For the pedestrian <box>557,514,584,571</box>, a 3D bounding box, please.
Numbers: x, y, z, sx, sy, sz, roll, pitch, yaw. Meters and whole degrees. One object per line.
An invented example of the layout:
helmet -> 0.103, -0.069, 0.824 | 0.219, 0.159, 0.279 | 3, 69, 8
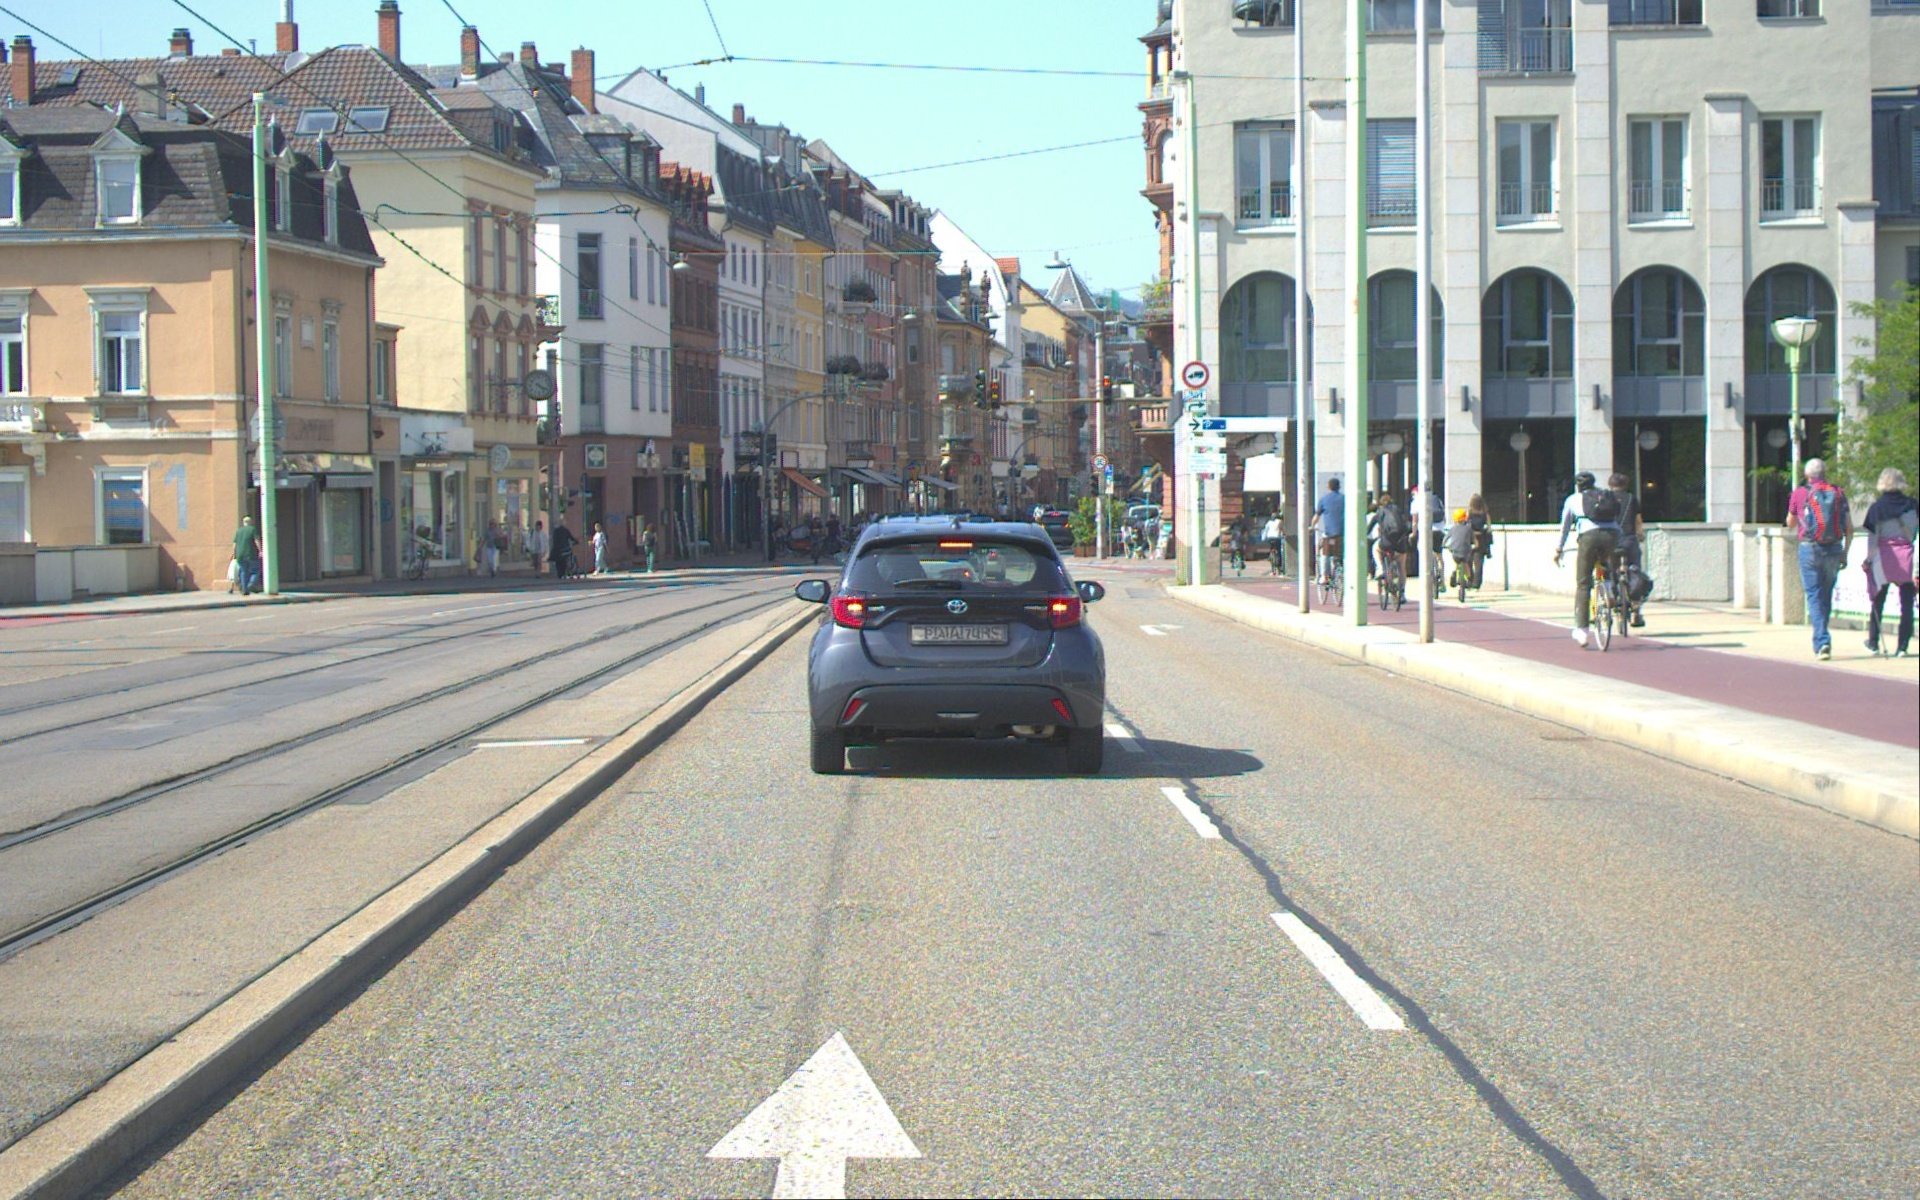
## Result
pedestrian -> -11.325, -1.663, 99.948 | 0.649, 1.596, 0.566 | 4, 3, 0

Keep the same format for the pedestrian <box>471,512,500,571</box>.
pedestrian -> -13.250, -1.639, 96.054 | 0.649, 1.596, 0.566 | 4, 3, 0

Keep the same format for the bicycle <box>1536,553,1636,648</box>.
bicycle -> 6.170, -0.003, 33.929 | 0.704, 0.879, 1.525 | -2, 1, 1

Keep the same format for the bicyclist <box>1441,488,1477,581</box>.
bicyclist -> 7.498, -0.989, 51.652 | 0.422, 1.378, 0.443 | -2, 1, 0

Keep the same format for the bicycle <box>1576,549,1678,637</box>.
bicycle -> 7.075, -0.086, 36.545 | 0.797, 0.879, 1.828 | -1, 1, 3

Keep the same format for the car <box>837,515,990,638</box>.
car -> -0.605, -0.340, 45.137 | 1.897, 1.525, 4.000 | 1, 1, -1

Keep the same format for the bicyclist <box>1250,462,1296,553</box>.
bicyclist -> 8.802, -2.600, 96.711 | 1.228, 2.520, 1.105 | 0, 1, 3

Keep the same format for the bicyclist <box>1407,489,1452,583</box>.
bicyclist -> 7.381, -1.007, 54.067 | 0.483, 1.461, 0.443 | -1, 4, -39

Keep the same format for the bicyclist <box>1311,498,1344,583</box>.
bicyclist -> 5.530, -0.895, 51.700 | 0.422, 1.252, 0.443 | -2, 1, 3

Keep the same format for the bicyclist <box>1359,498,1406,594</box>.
bicyclist -> 5.906, -0.758, 48.068 | 0.538, 1.312, 0.672 | -3, 1, 2

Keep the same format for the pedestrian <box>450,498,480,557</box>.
pedestrian -> -13.971, -2.058, 97.038 | 0.649, 1.596, 0.566 | 4, 3, 0

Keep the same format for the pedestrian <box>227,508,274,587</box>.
pedestrian -> -15.388, -1.136, 74.559 | 0.762, 1.648, 0.711 | 4, 1, 3

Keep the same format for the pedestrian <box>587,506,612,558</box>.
pedestrian -> -12.241, -2.316, 116.673 | 0.736, 1.760, 0.787 | 0, 2, 0

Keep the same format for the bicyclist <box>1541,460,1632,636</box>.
bicyclist -> 6.173, -0.516, 33.906 | 0.701, 1.689, 0.924 | -1, 1, 0

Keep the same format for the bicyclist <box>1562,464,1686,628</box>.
bicyclist -> 7.059, -0.580, 36.569 | 1.139, 1.689, 0.924 | -1, 1, 3

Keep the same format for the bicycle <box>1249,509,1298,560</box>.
bicycle -> 8.822, -1.859, 96.893 | 1.112, 1.415, 3.007 | 0, 1, 0

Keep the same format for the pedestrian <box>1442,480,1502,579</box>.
pedestrian -> 8.630, -1.184, 57.947 | 0.739, 1.609, 1.016 | 4, 1, -1

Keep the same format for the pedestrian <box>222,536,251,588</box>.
pedestrian -> -16.123, -0.845, 76.588 | 0.412, 1.142, 0.544 | 4, 1, 8

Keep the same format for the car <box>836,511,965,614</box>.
car -> -0.911, -0.609, 53.322 | 1.897, 1.525, 4.000 | 1, 1, -1

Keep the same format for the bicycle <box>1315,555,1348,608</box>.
bicycle -> 5.587, -0.278, 51.701 | 0.416, 0.763, 0.962 | -2, 1, 3

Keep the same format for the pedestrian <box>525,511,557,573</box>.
pedestrian -> -12.276, -1.710, 100.806 | 0.736, 1.760, 0.787 | 4, 1, 0

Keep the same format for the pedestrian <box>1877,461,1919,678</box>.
pedestrian -> 7.893, -0.265, 27.525 | 0.754, 1.712, 1.073 | -2, 1, -1

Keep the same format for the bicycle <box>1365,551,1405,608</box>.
bicycle -> 5.947, -0.292, 48.137 | 0.416, 0.763, 1.205 | -2, 1, 2

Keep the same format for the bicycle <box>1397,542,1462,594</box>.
bicycle -> 7.381, -0.514, 54.056 | 0.416, 0.763, 0.961 | -1, 4, -39

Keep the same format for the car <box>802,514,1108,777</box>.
car -> -0.051, 0.216, 21.354 | 1.720, 1.468, 3.658 | 1, 1, -1

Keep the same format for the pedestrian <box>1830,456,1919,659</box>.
pedestrian -> 8.302, -0.390, 30.711 | 0.739, 1.771, 1.016 | -2, 1, -1

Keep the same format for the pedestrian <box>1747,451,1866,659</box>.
pedestrian -> 7.527, -0.406, 30.595 | 0.739, 1.796, 1.016 | -2, 1, -1

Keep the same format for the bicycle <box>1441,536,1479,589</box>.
bicycle -> 7.512, -0.570, 51.667 | 0.416, 0.763, 0.962 | -2, 1, 0
